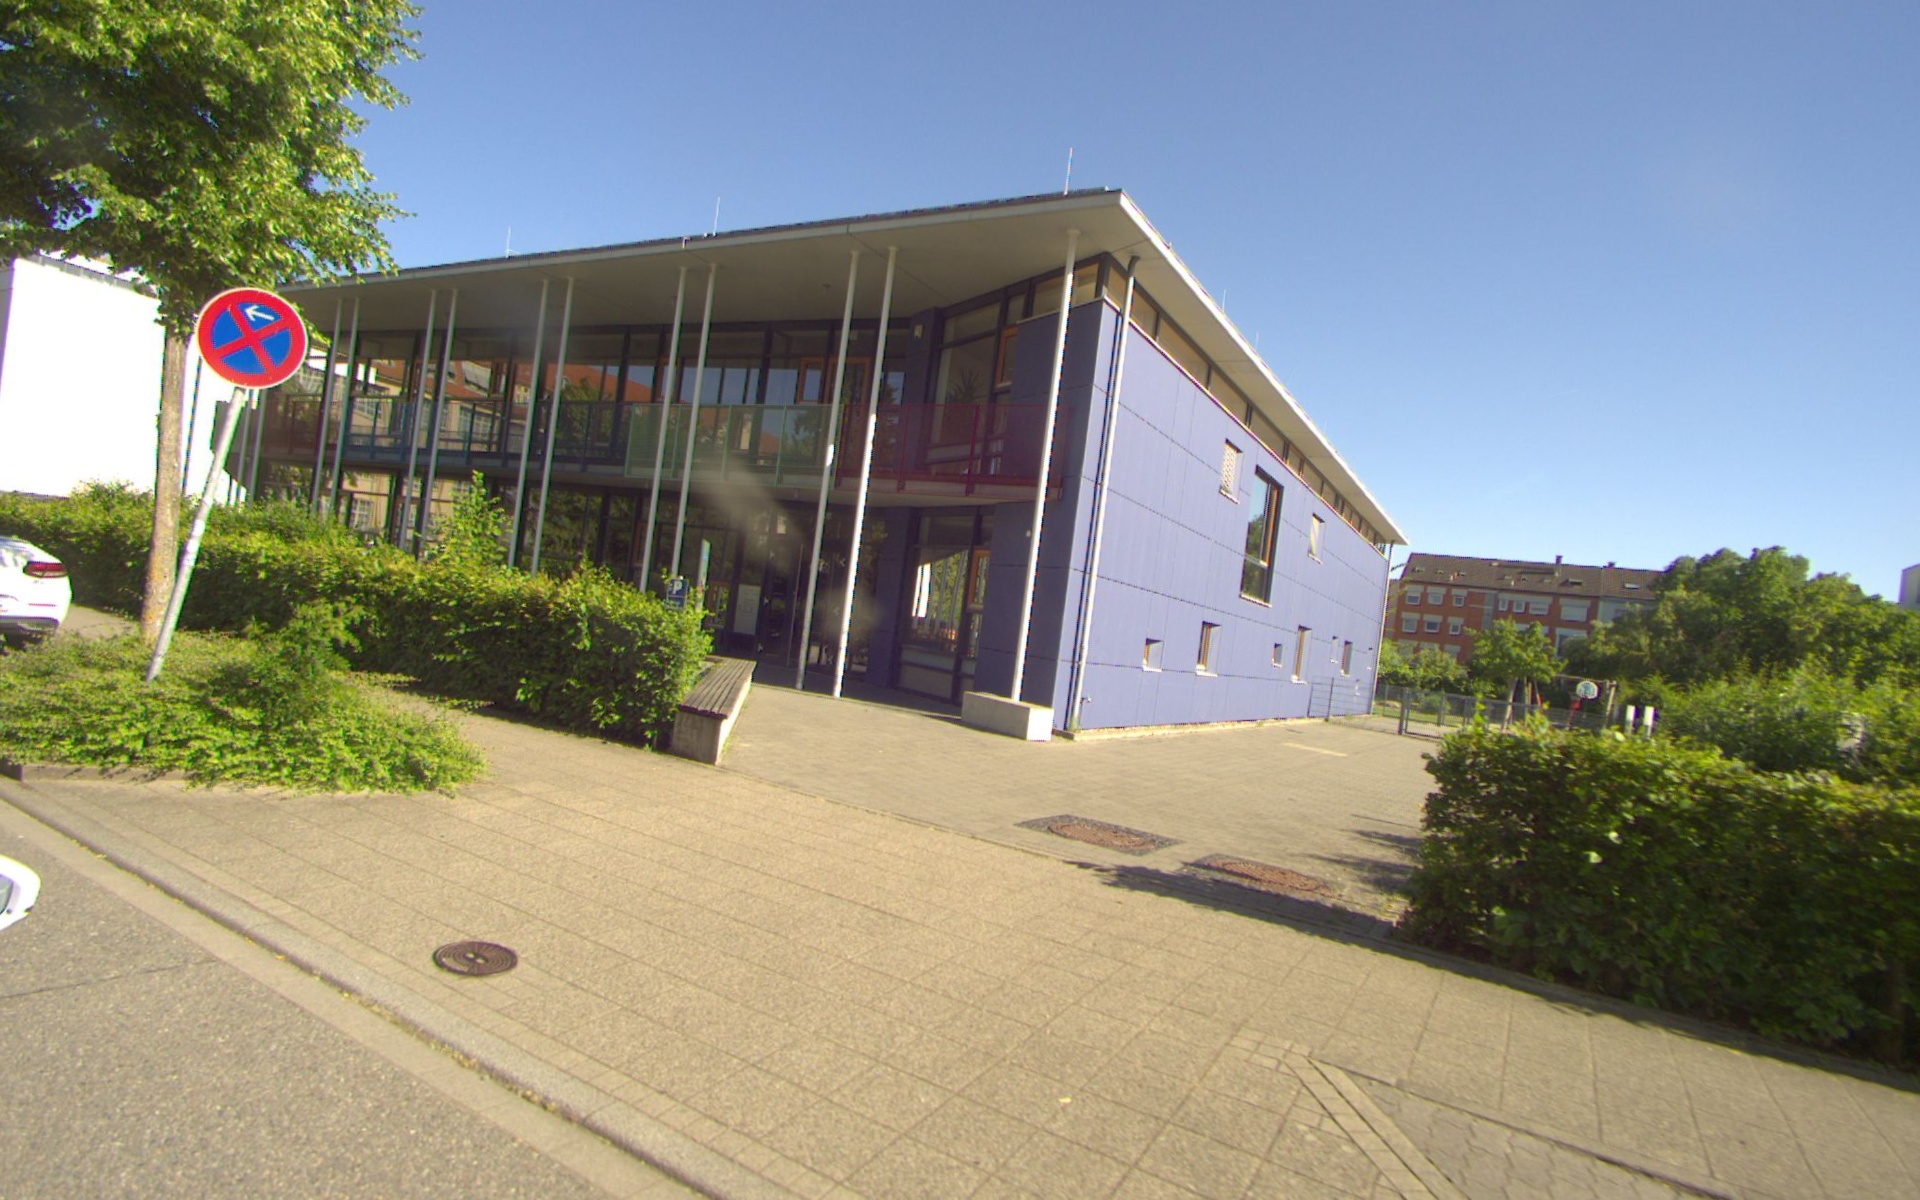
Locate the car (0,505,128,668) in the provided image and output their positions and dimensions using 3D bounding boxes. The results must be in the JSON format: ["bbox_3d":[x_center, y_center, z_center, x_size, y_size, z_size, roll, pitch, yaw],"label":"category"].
[{"bbox_3d":[-10.267,-0.333,9.535,4.693,1.337,1.965,7,1,28],"label":"car"}]

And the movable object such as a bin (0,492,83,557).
[{"bbox_3d":[-24.752,-2.031,26.966,1.604,1.465,1.368,7,-1,32],"label":"movable object such as a bin"}]
